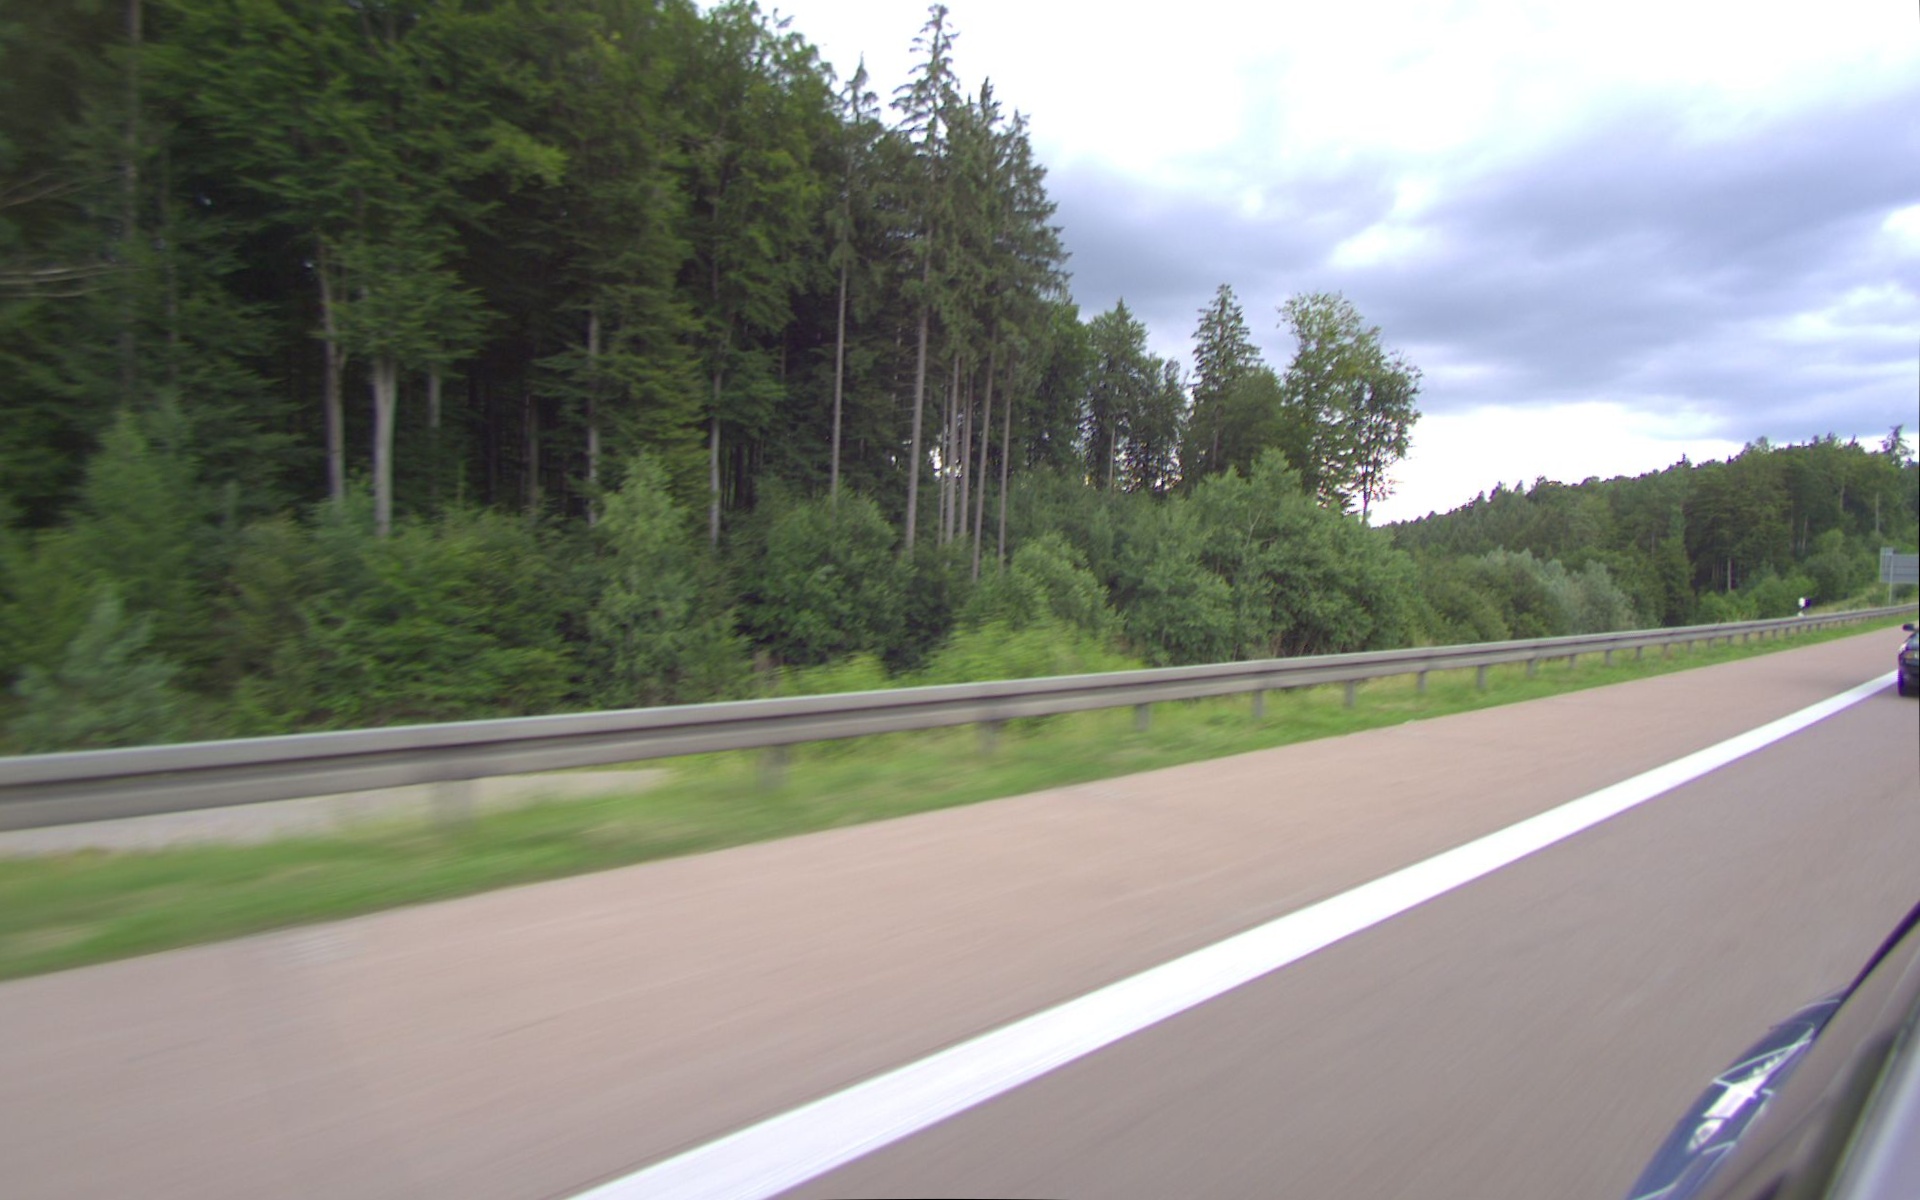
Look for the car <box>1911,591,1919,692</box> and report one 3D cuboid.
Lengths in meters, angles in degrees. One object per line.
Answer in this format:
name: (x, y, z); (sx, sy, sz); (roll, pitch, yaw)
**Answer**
car: (15.509, 0.593, 14.963); (4.159, 1.420, 1.675); (0, 1, -41)
